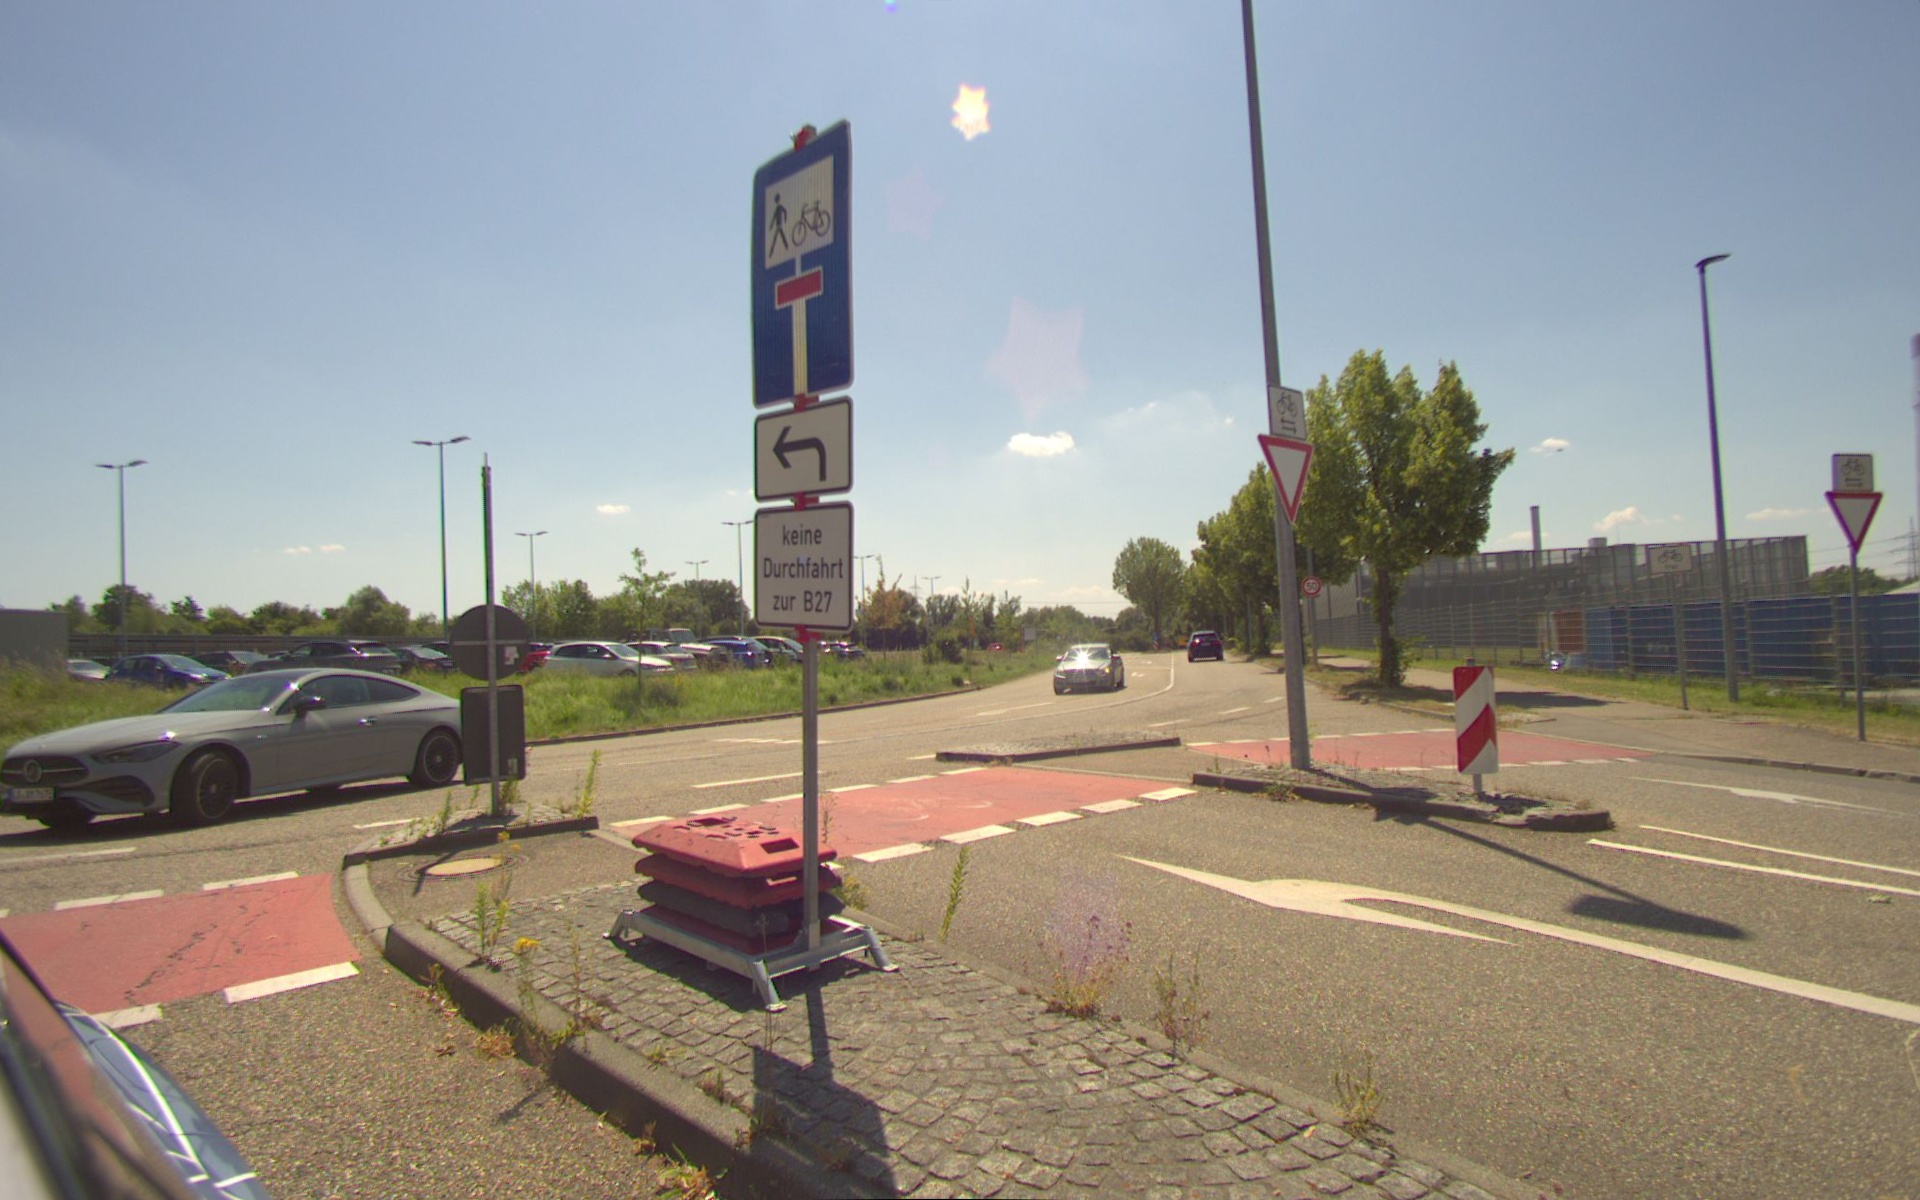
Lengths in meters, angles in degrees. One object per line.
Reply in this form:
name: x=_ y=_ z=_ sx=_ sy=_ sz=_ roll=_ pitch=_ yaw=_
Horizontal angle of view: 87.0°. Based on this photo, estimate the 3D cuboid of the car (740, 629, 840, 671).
car: x=-7.072 y=2.090 z=42.193 sx=3.807 sy=1.636 sz=1.612 roll=-2 pitch=-2 yaw=10

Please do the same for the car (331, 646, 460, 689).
car: x=-19.641 y=2.346 z=35.262 sx=3.807 sy=1.373 sz=1.647 roll=-2 pitch=-2 yaw=11

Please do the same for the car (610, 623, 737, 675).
car: x=-9.757 y=1.671 z=34.538 sx=3.716 sy=1.539 sz=1.866 roll=-3 pitch=-1 yaw=17

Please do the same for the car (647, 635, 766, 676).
car: x=-9.316 y=2.024 z=37.259 sx=3.903 sy=1.267 sz=1.581 roll=-3 pitch=-1 yaw=9

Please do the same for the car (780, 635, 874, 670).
car: x=-6.256 y=2.495 z=47.824 sx=3.961 sy=1.301 sz=1.901 roll=-5 pitch=-2 yaw=13

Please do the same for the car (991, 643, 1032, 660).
car: x=5.214 y=5.271 z=103.063 sx=3.954 sy=1.361 sz=1.642 roll=-5 pitch=-2 yaw=8

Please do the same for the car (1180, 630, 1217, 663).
car: x=13.357 y=2.595 z=56.849 sx=1.851 sy=1.647 sz=4.580 roll=-4 pitch=-3 yaw=13

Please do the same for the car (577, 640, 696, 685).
car: x=-10.166 y=1.954 z=31.914 sx=3.237 sy=1.191 sz=1.496 roll=-3 pitch=-1 yaw=12

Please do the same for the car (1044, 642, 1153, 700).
car: x=4.325 y=2.135 z=31.056 sx=1.667 sy=1.385 sz=4.451 roll=-7 pitch=-3 yaw=30

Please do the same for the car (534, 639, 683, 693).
car: x=-10.209 y=1.912 z=29.457 sx=3.839 sy=1.307 sz=1.568 roll=-3 pitch=-1 yaw=13

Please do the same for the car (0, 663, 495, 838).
car: x=-7.314 y=1.434 z=10.718 sx=1.880 sy=1.394 sz=4.611 roll=-4 pitch=-5 yaw=14

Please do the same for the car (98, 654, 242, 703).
car: x=-25.922 y=2.571 z=33.263 sx=3.593 sy=1.457 sz=1.650 roll=-2 pitch=-3 yaw=5

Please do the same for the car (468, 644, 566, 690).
car: x=-18.467 y=2.790 z=42.228 sx=3.381 sy=1.586 sz=1.518 roll=-5 pitch=-2 yaw=9

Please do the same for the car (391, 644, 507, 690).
car: x=-19.094 y=2.491 z=37.876 sx=3.600 sy=1.610 sz=1.763 roll=-2 pitch=-2 yaw=11

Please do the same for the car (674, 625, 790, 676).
car: x=-8.863 y=1.961 z=39.435 sx=3.996 sy=1.440 sz=1.682 roll=-8 pitch=-3 yaw=10

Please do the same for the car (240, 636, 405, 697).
car: x=-20.600 y=2.149 z=32.748 sx=4.555 sy=1.703 sz=1.771 roll=-4 pitch=-4 yaw=11
